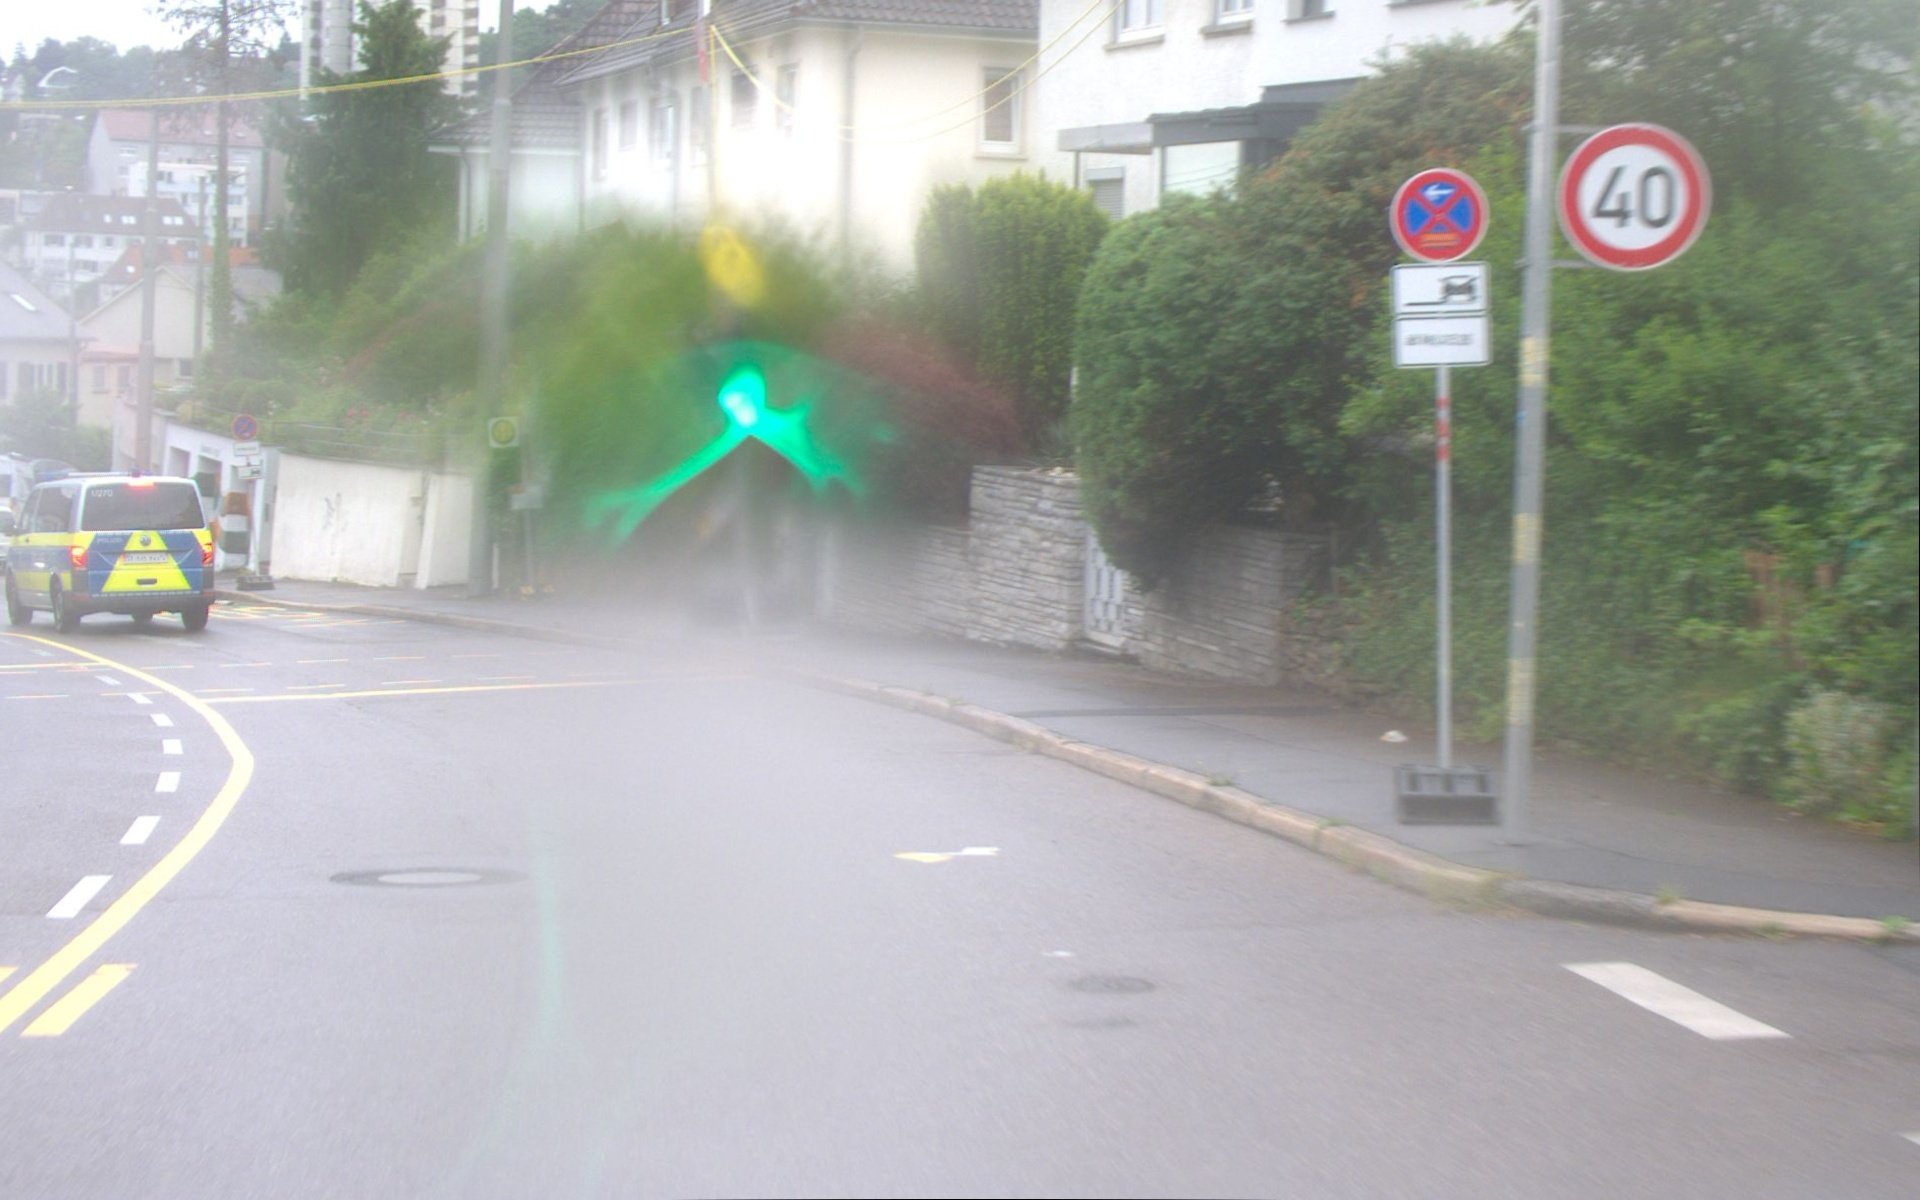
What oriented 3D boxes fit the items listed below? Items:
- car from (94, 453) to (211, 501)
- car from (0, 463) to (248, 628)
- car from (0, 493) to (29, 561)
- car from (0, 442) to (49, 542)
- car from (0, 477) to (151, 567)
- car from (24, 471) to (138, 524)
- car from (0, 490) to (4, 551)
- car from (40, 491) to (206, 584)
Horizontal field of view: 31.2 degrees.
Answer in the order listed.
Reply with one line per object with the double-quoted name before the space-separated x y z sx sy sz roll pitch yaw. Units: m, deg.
"car" -30.699 -4.651 130.798 1.931 1.625 4.673 5 3 21
"car" -10.868 -0.757 44.170 2.308 1.932 4.326 -3 3 -26
"car" -20.896 -1.571 73.105 1.705 1.409 4.043 0 2 -21
"car" -25.359 -2.864 90.142 2.098 2.533 5.622 1 2 -7
"car" -15.482 -1.386 59.993 1.713 1.508 4.001 -1 2 -28
"car" -26.742 -3.117 104.690 1.679 1.478 4.200 4 3 10
"car" -24.567 -1.939 84.465 1.753 1.490 4.185 1 2 -12
"car" -13.534 -1.040 55.444 1.781 1.415 4.431 -1 2 -25
